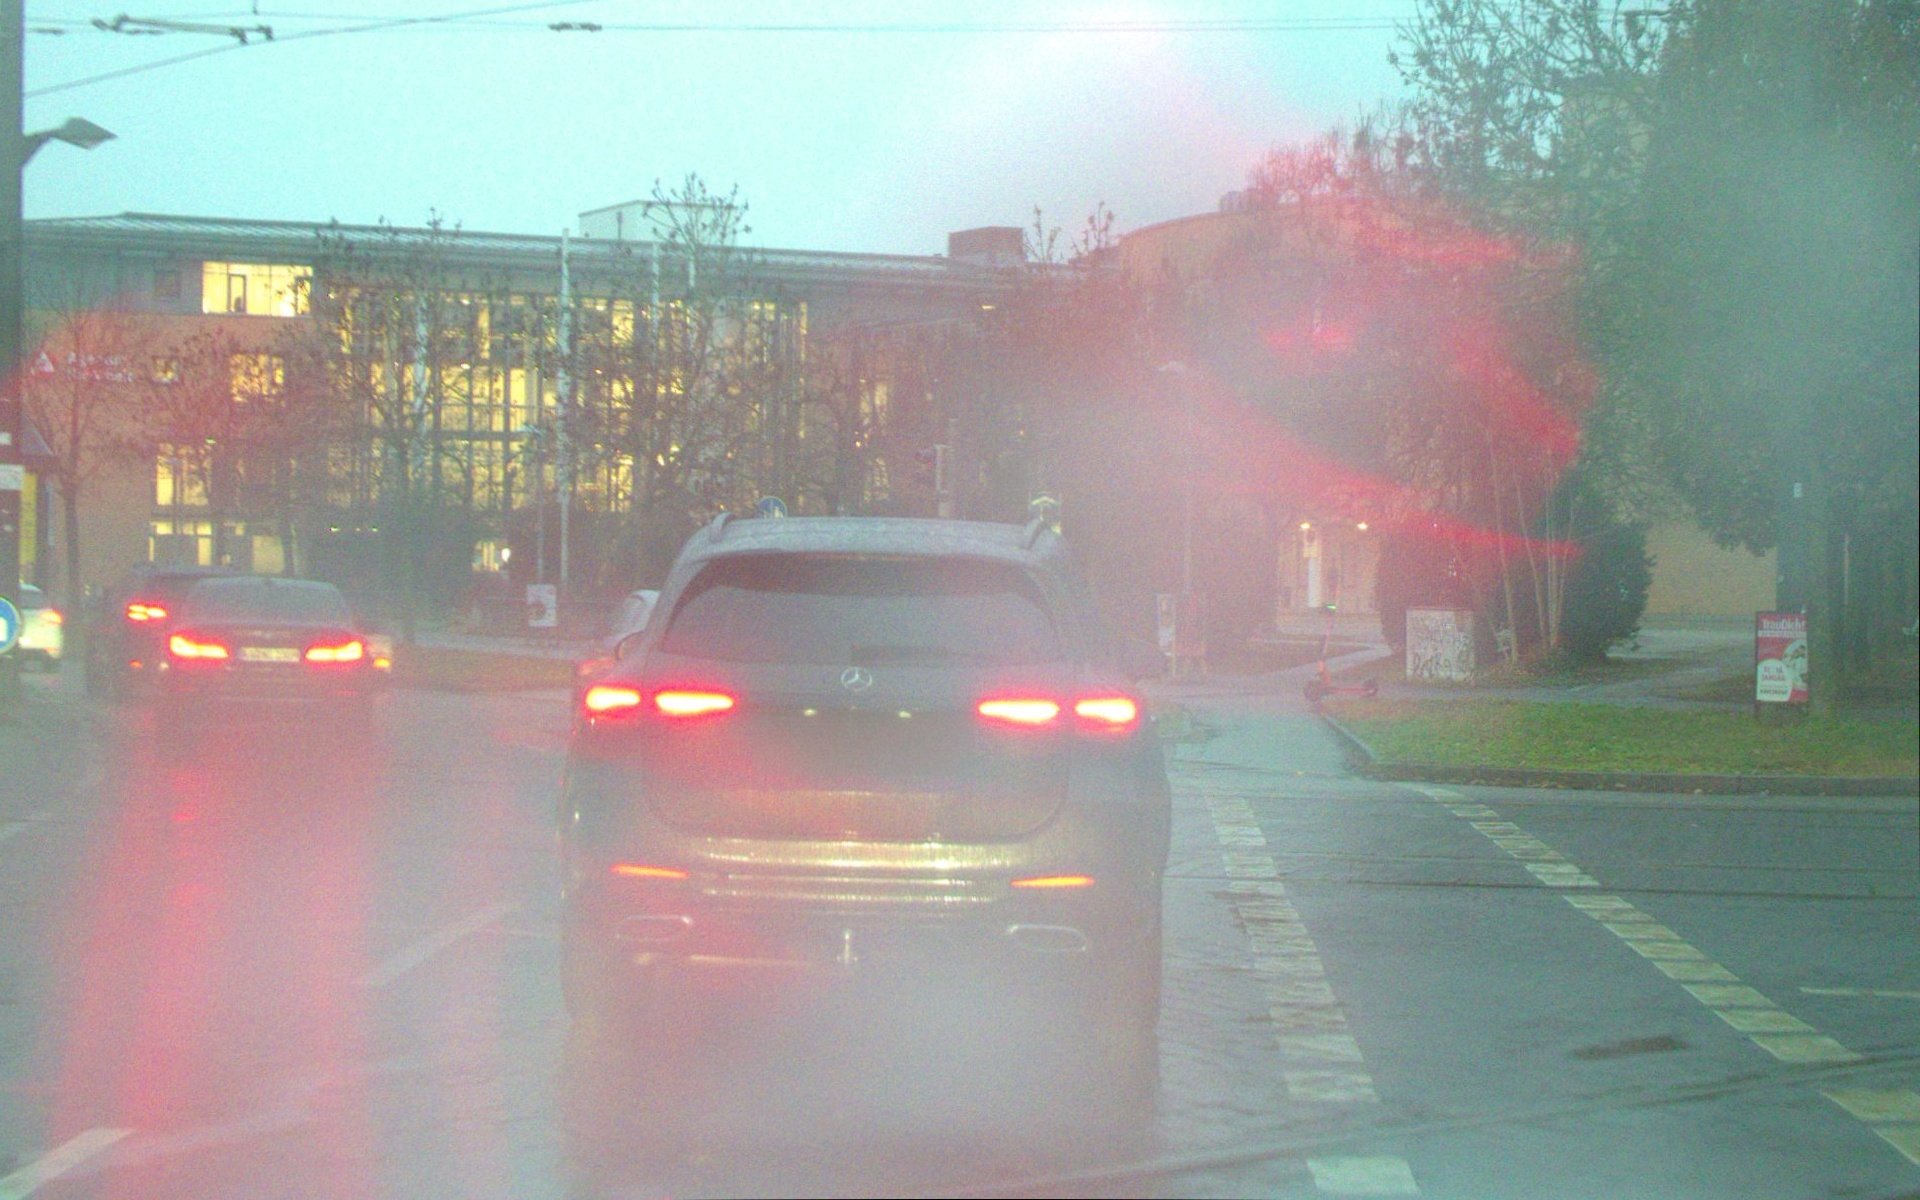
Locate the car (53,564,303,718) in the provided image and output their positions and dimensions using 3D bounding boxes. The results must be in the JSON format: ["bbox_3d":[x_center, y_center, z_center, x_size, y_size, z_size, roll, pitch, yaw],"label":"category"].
[{"bbox_3d":[-9.556,0.453,41.822,1.993,1.759,4.001,0,1,-28],"label":"car"}]

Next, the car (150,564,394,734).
[{"bbox_3d":[-6.110,0.387,30.651,1.993,1.393,4.001,0,1,-11],"label":"car"}]

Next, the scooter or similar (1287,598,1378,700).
[{"bbox_3d":[4.590,0.591,42.283,1.142,1.227,0.487,0,1,-44],"label":"scooter or similar"}]

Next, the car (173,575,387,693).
[{"bbox_3d":[-9.975,0.461,50.245,1.993,1.612,4.000,0,1,-28],"label":"car"}]

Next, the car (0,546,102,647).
[{"bbox_3d":[-15.577,-0.092,56.926,1.993,1.612,4.001,0,1,-24],"label":"car"}]

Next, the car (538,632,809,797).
[{"bbox_3d":[-2.850,1.060,33.406,1.993,1.403,4.001,0,1,-14],"label":"car"}]

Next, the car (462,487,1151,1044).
[{"bbox_3d":[-0.447,0.450,11.943,1.991,1.610,4.000,0,1,0],"label":"car"}]
